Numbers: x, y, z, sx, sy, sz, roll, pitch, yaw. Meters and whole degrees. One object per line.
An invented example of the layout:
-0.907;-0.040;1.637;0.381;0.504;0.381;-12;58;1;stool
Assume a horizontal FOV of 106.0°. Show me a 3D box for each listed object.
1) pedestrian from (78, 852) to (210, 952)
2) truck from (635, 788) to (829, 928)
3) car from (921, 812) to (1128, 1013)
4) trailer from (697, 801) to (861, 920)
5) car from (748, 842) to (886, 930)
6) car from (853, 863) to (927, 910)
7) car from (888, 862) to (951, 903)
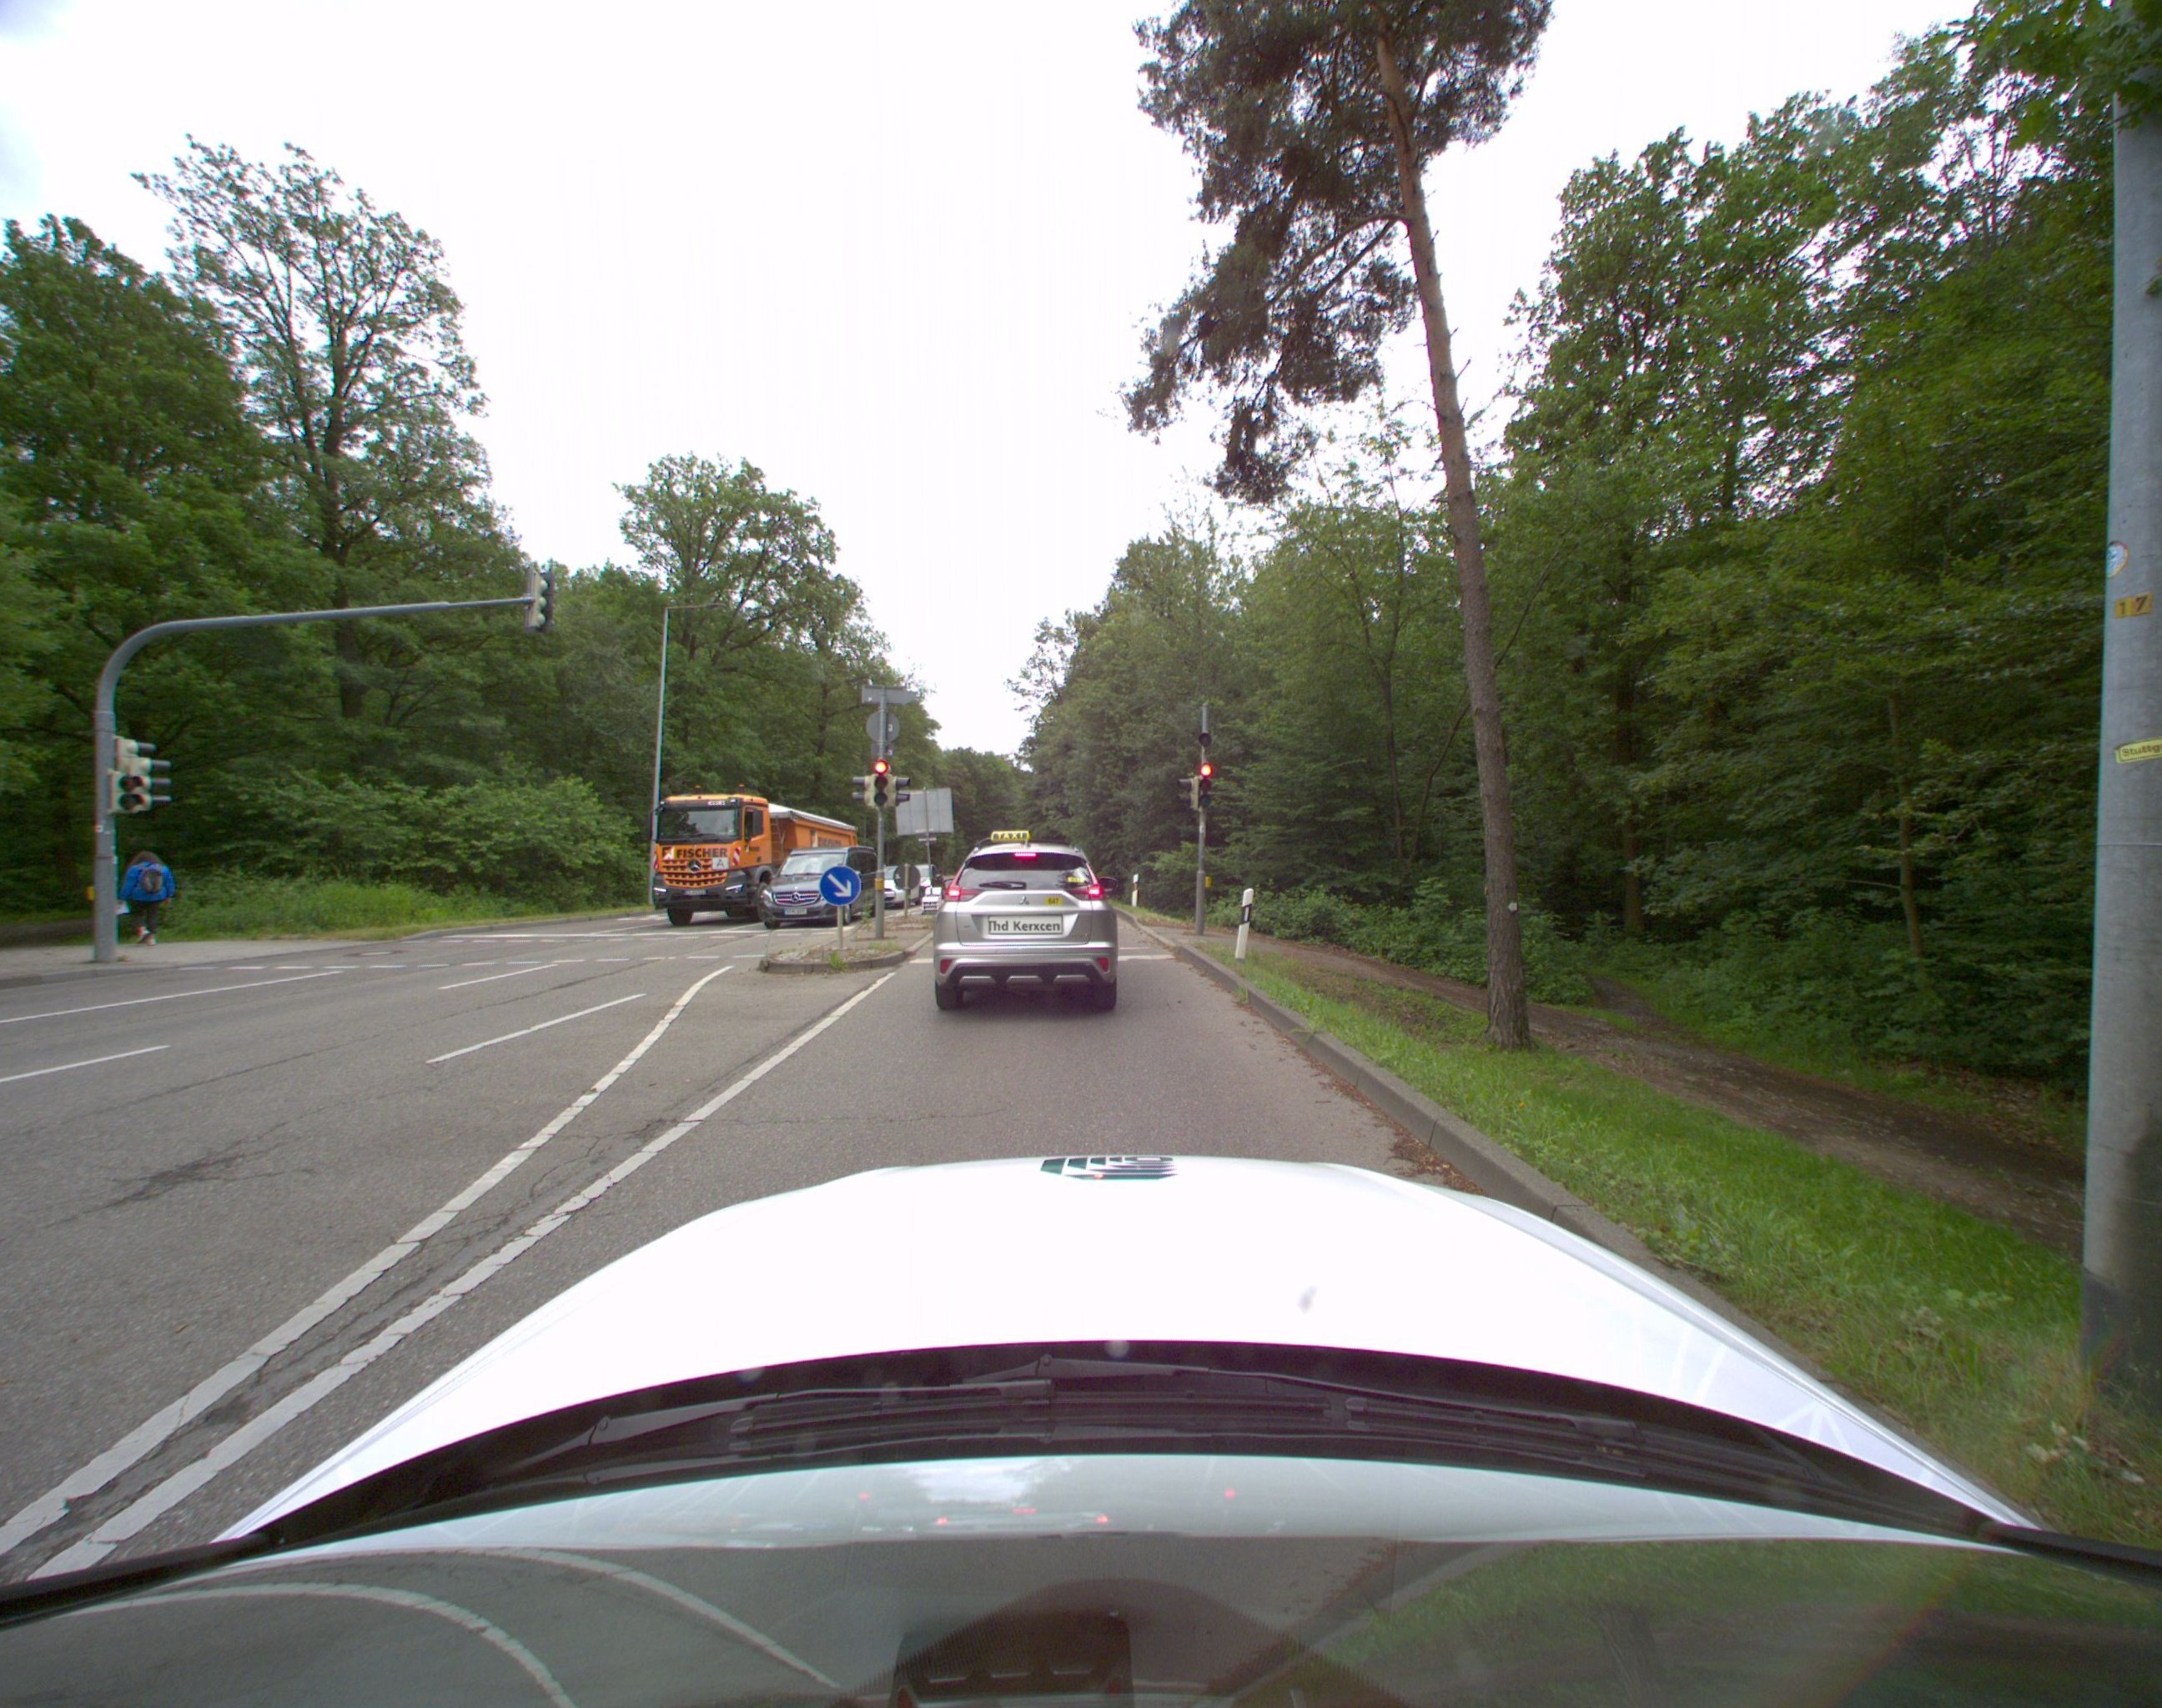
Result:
-16.514;0.813;14.387;1.042;1.649;1.070;3;1;4;pedestrian
-9.549;0.169;23.292;2.733;3.318;7.150;-2;-1;-3;truck
-0.609;0.530;9.286;1.843;1.780;3.995;0;0;-3;car
-9.789;0.258;27.597;2.733;3.318;8.558;-2;-1;-3;trailer
-6.485;0.748;20.627;1.988;1.894;4.835;-2;-1;-2;car
-6.417;1.057;27.773;1.607;1.321;3.720;-3;0;-1;car
-6.632;1.136;33.804;1.806;1.508;3.720;-3;-1;-1;car
